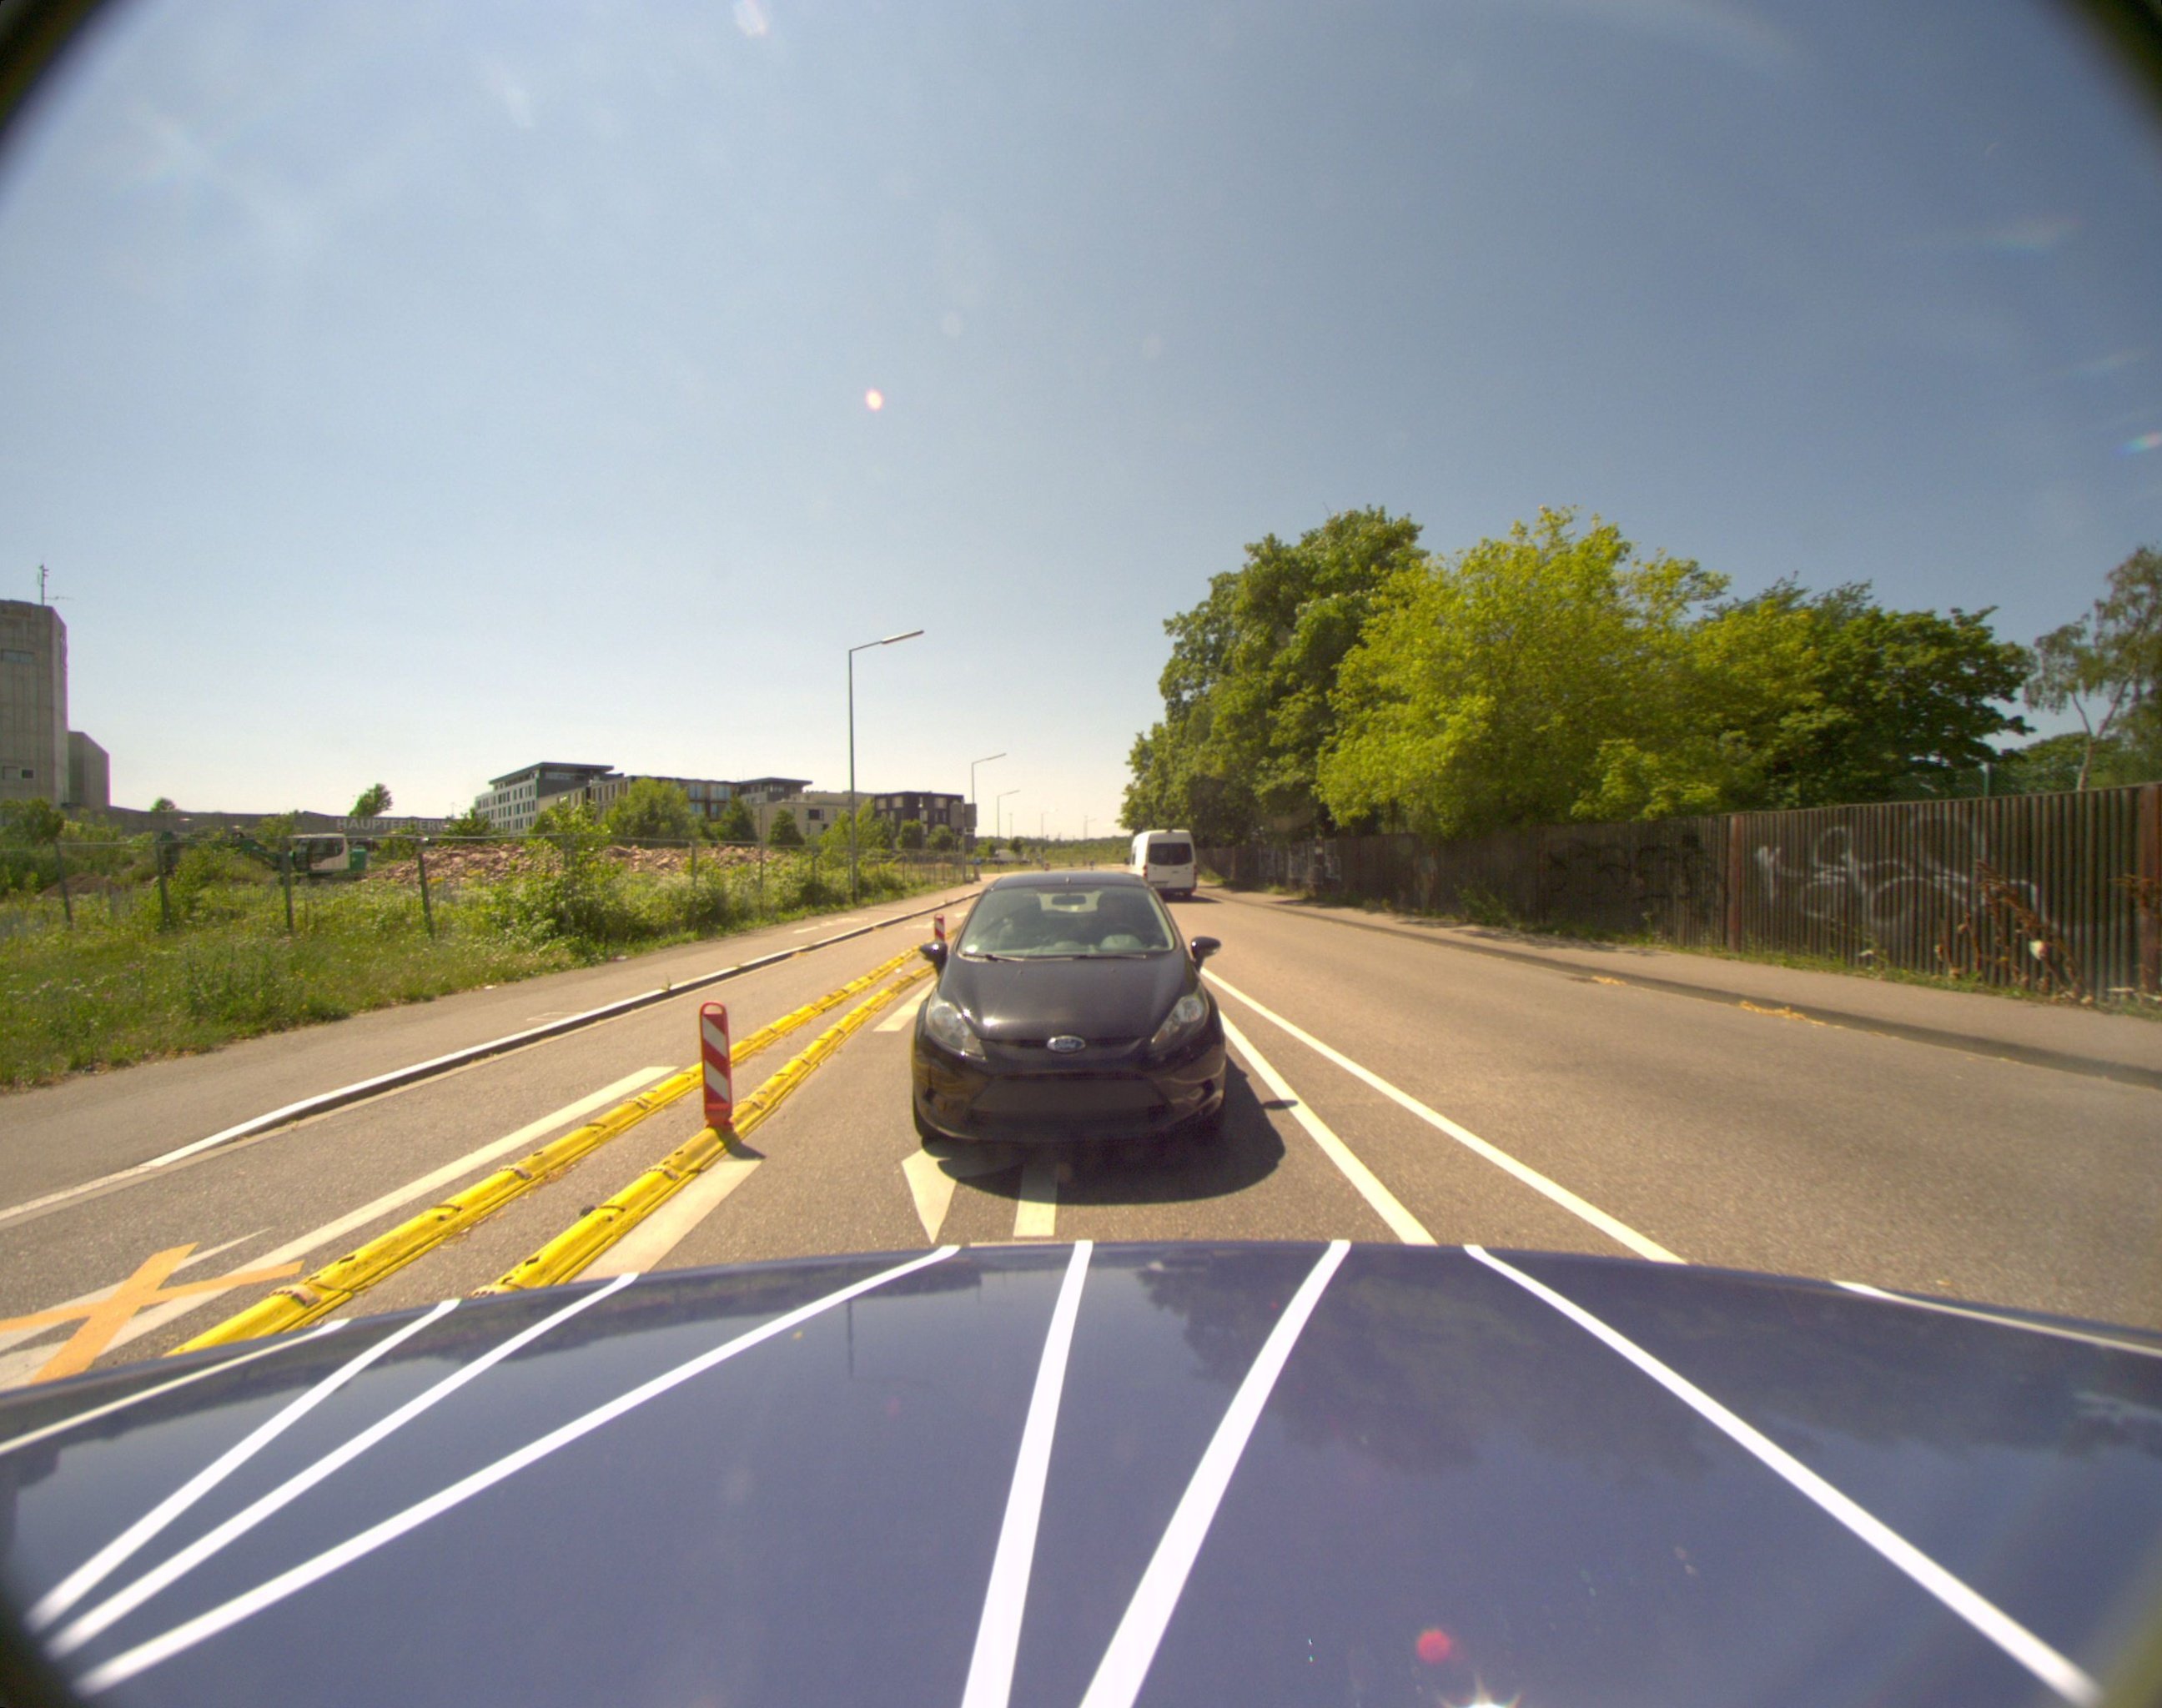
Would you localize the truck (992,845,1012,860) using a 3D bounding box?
[{"bbox_3d":[-17.896,-0.327,171.694,4.008,3.316,1.994,-1,0,-45],"label":"truck"}]

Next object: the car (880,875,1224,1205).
[{"bbox_3d":[-0.117,0.948,5.629,1.602,1.422,4.000,-2,0,1],"label":"car"}]

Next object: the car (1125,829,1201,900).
[{"bbox_3d":[3.105,0.365,30.301,2.025,2.524,6.826,0,0,-2],"label":"car"}]

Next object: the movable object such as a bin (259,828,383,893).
[{"bbox_3d":[-37.633,0.293,37.767,2.204,3.045,3.690,-2,1,6],"label":"movable object such as a bin"}]

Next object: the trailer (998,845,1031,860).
[{"bbox_3d":[-15.139,-0.323,174.434,8.194,3.329,1.994,0,0,-45],"label":"trailer"}]
